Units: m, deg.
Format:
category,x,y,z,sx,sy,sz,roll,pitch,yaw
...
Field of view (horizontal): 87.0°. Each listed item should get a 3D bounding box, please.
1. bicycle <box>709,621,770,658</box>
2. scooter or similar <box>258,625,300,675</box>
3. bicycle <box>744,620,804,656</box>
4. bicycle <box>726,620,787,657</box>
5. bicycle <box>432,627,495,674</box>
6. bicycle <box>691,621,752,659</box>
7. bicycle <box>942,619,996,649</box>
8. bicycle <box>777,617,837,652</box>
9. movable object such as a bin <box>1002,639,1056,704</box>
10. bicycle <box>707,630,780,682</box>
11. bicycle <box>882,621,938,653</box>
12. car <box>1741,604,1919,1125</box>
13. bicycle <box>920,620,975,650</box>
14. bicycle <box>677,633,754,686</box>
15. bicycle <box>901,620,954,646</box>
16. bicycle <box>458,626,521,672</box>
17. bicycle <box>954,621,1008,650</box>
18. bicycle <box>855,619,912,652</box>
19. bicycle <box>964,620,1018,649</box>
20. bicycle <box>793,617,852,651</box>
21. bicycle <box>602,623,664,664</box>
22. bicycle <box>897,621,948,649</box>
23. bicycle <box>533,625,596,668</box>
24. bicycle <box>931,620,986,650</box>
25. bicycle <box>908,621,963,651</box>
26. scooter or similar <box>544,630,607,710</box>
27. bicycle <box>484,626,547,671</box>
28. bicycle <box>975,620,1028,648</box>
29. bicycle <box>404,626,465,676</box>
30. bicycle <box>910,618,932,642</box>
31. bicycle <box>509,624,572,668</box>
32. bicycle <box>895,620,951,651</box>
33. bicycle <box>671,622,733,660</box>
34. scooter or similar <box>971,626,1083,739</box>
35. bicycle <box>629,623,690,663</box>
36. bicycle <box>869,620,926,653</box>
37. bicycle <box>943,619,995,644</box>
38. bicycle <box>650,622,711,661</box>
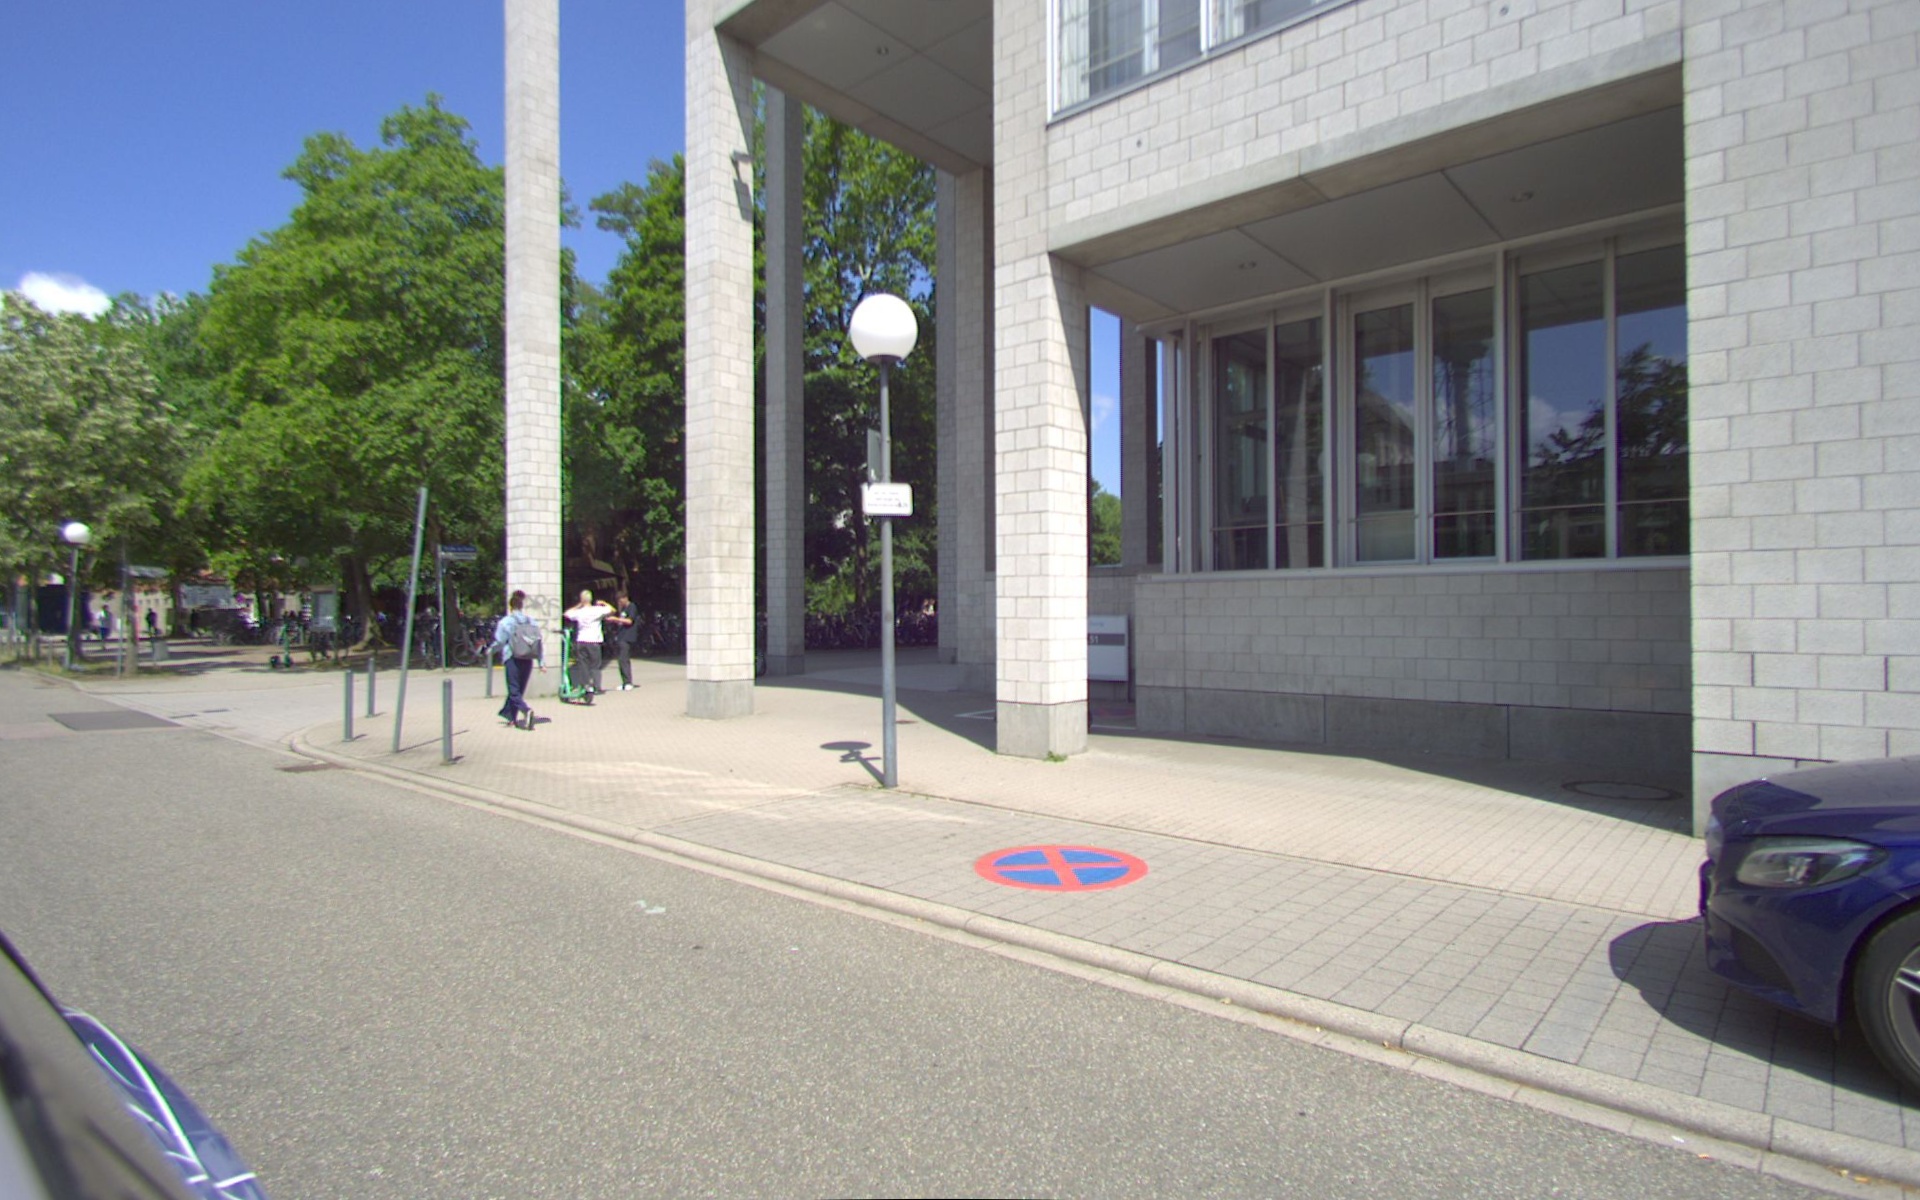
category,x,y,z,sx,sy,sz,roll,pitch,yaw
bicycle,-6.613,1.161,30.279,2.174,1.066,0.614,-1,0,41
scooter or similar,-17.592,1.282,26.182,0.702,1.200,1.620,0,0,-27
bicycle,-5.765,1.156,31.272,2.174,1.066,0.614,-1,0,41
bicycle,-6.193,1.144,30.771,2.174,1.066,0.614,-1,0,41
bicycle,-12.007,1.197,24.444,2.123,1.066,0.584,-1,0,41
bicycle,-7.031,1.164,29.771,2.174,1.066,0.614,-1,0,41
bicycle,0.328,1.266,38.232,2.174,1.066,0.614,-1,0,41
bicycle,-4.895,1.093,32.293,2.174,1.066,0.614,-1,0,41
movable object such as a bin,1.096,1.117,16.107,0.702,0.986,0.477,-1,-1,42
bicycle,-4.528,1.144,21.111,0.510,0.993,1.966,0,0,-45
bicycle,-1.777,1.299,35.716,2.174,1.066,0.614,-1,0,41
car,4.667,0.702,2.133,4.663,1.433,1.708,-1,-1,42
bicycle,-0.466,1.278,37.188,2.174,1.066,0.614,-1,0,41
bicycle,-5.011,1.193,20.672,0.588,0.993,1.966,0,0,-45
bicycle,-1.370,1.369,42.247,2.161,1.066,0.618,-1,0,23
bicycle,-11.604,1.194,24.925,2.123,1.066,0.614,-1,0,41
bicycle,0.787,1.335,38.748,2.174,1.066,0.614,-1,0,41
bicycle,-2.628,1.203,34.689,2.174,1.066,0.614,-1,0,41
bicycle,1.184,1.332,39.247,2.174,1.066,0.614,-1,0,41
bicycle,-4.466,1.073,32.799,2.174,1.066,0.614,-1,0,41
bicycle,-9.049,1.178,27.965,2.123,1.066,0.614,-1,0,41
bicycle,-1.468,1.360,39.708,2.174,1.066,0.614,-1,0,41
bicycle,-10.334,1.186,26.392,2.123,1.066,0.614,-1,0,41
bicycle,-0.060,1.283,37.695,2.174,1.066,0.614,-1,0,41
bicycle,-0.905,1.288,36.703,2.174,1.066,0.614,-1,0,41
scooter or similar,-5.850,1.047,15.369,1.312,1.153,0.313,-1,-1,42
bicycle,-11.183,1.192,25.421,2.123,1.066,0.614,-1,0,41
bicycle,1.603,1.315,39.762,2.174,1.066,0.614,-1,0,41
bicycle,-12.462,1.188,23.976,1.998,1.115,0.502,-1,-1,38
bicycle,-1.837,1.395,47.301,0.612,1.066,2.181,0,0,-14
bicycle,-10.763,1.155,25.913,2.123,1.066,0.614,-1,0,41
bicycle,-1.324,1.257,36.192,2.174,1.066,0.614,-1,0,41
bicycle,-7.483,1.167,29.292,2.174,1.066,0.614,-1,0,41
scooter or similar,0.758,0.925,11.546,1.196,1.241,0.402,-1,-1,-8
bicycle,-8.413,1.173,28.291,2.123,1.066,0.614,-1,0,41
bicycle,-2.204,1.255,35.218,2.174,1.066,0.614,-1,0,41
bicycle,0.401,1.355,43.437,2.161,1.066,0.618,-1,0,23
bicycle,-7.976,1.170,28.835,2.123,1.066,0.614,-1,0,41
